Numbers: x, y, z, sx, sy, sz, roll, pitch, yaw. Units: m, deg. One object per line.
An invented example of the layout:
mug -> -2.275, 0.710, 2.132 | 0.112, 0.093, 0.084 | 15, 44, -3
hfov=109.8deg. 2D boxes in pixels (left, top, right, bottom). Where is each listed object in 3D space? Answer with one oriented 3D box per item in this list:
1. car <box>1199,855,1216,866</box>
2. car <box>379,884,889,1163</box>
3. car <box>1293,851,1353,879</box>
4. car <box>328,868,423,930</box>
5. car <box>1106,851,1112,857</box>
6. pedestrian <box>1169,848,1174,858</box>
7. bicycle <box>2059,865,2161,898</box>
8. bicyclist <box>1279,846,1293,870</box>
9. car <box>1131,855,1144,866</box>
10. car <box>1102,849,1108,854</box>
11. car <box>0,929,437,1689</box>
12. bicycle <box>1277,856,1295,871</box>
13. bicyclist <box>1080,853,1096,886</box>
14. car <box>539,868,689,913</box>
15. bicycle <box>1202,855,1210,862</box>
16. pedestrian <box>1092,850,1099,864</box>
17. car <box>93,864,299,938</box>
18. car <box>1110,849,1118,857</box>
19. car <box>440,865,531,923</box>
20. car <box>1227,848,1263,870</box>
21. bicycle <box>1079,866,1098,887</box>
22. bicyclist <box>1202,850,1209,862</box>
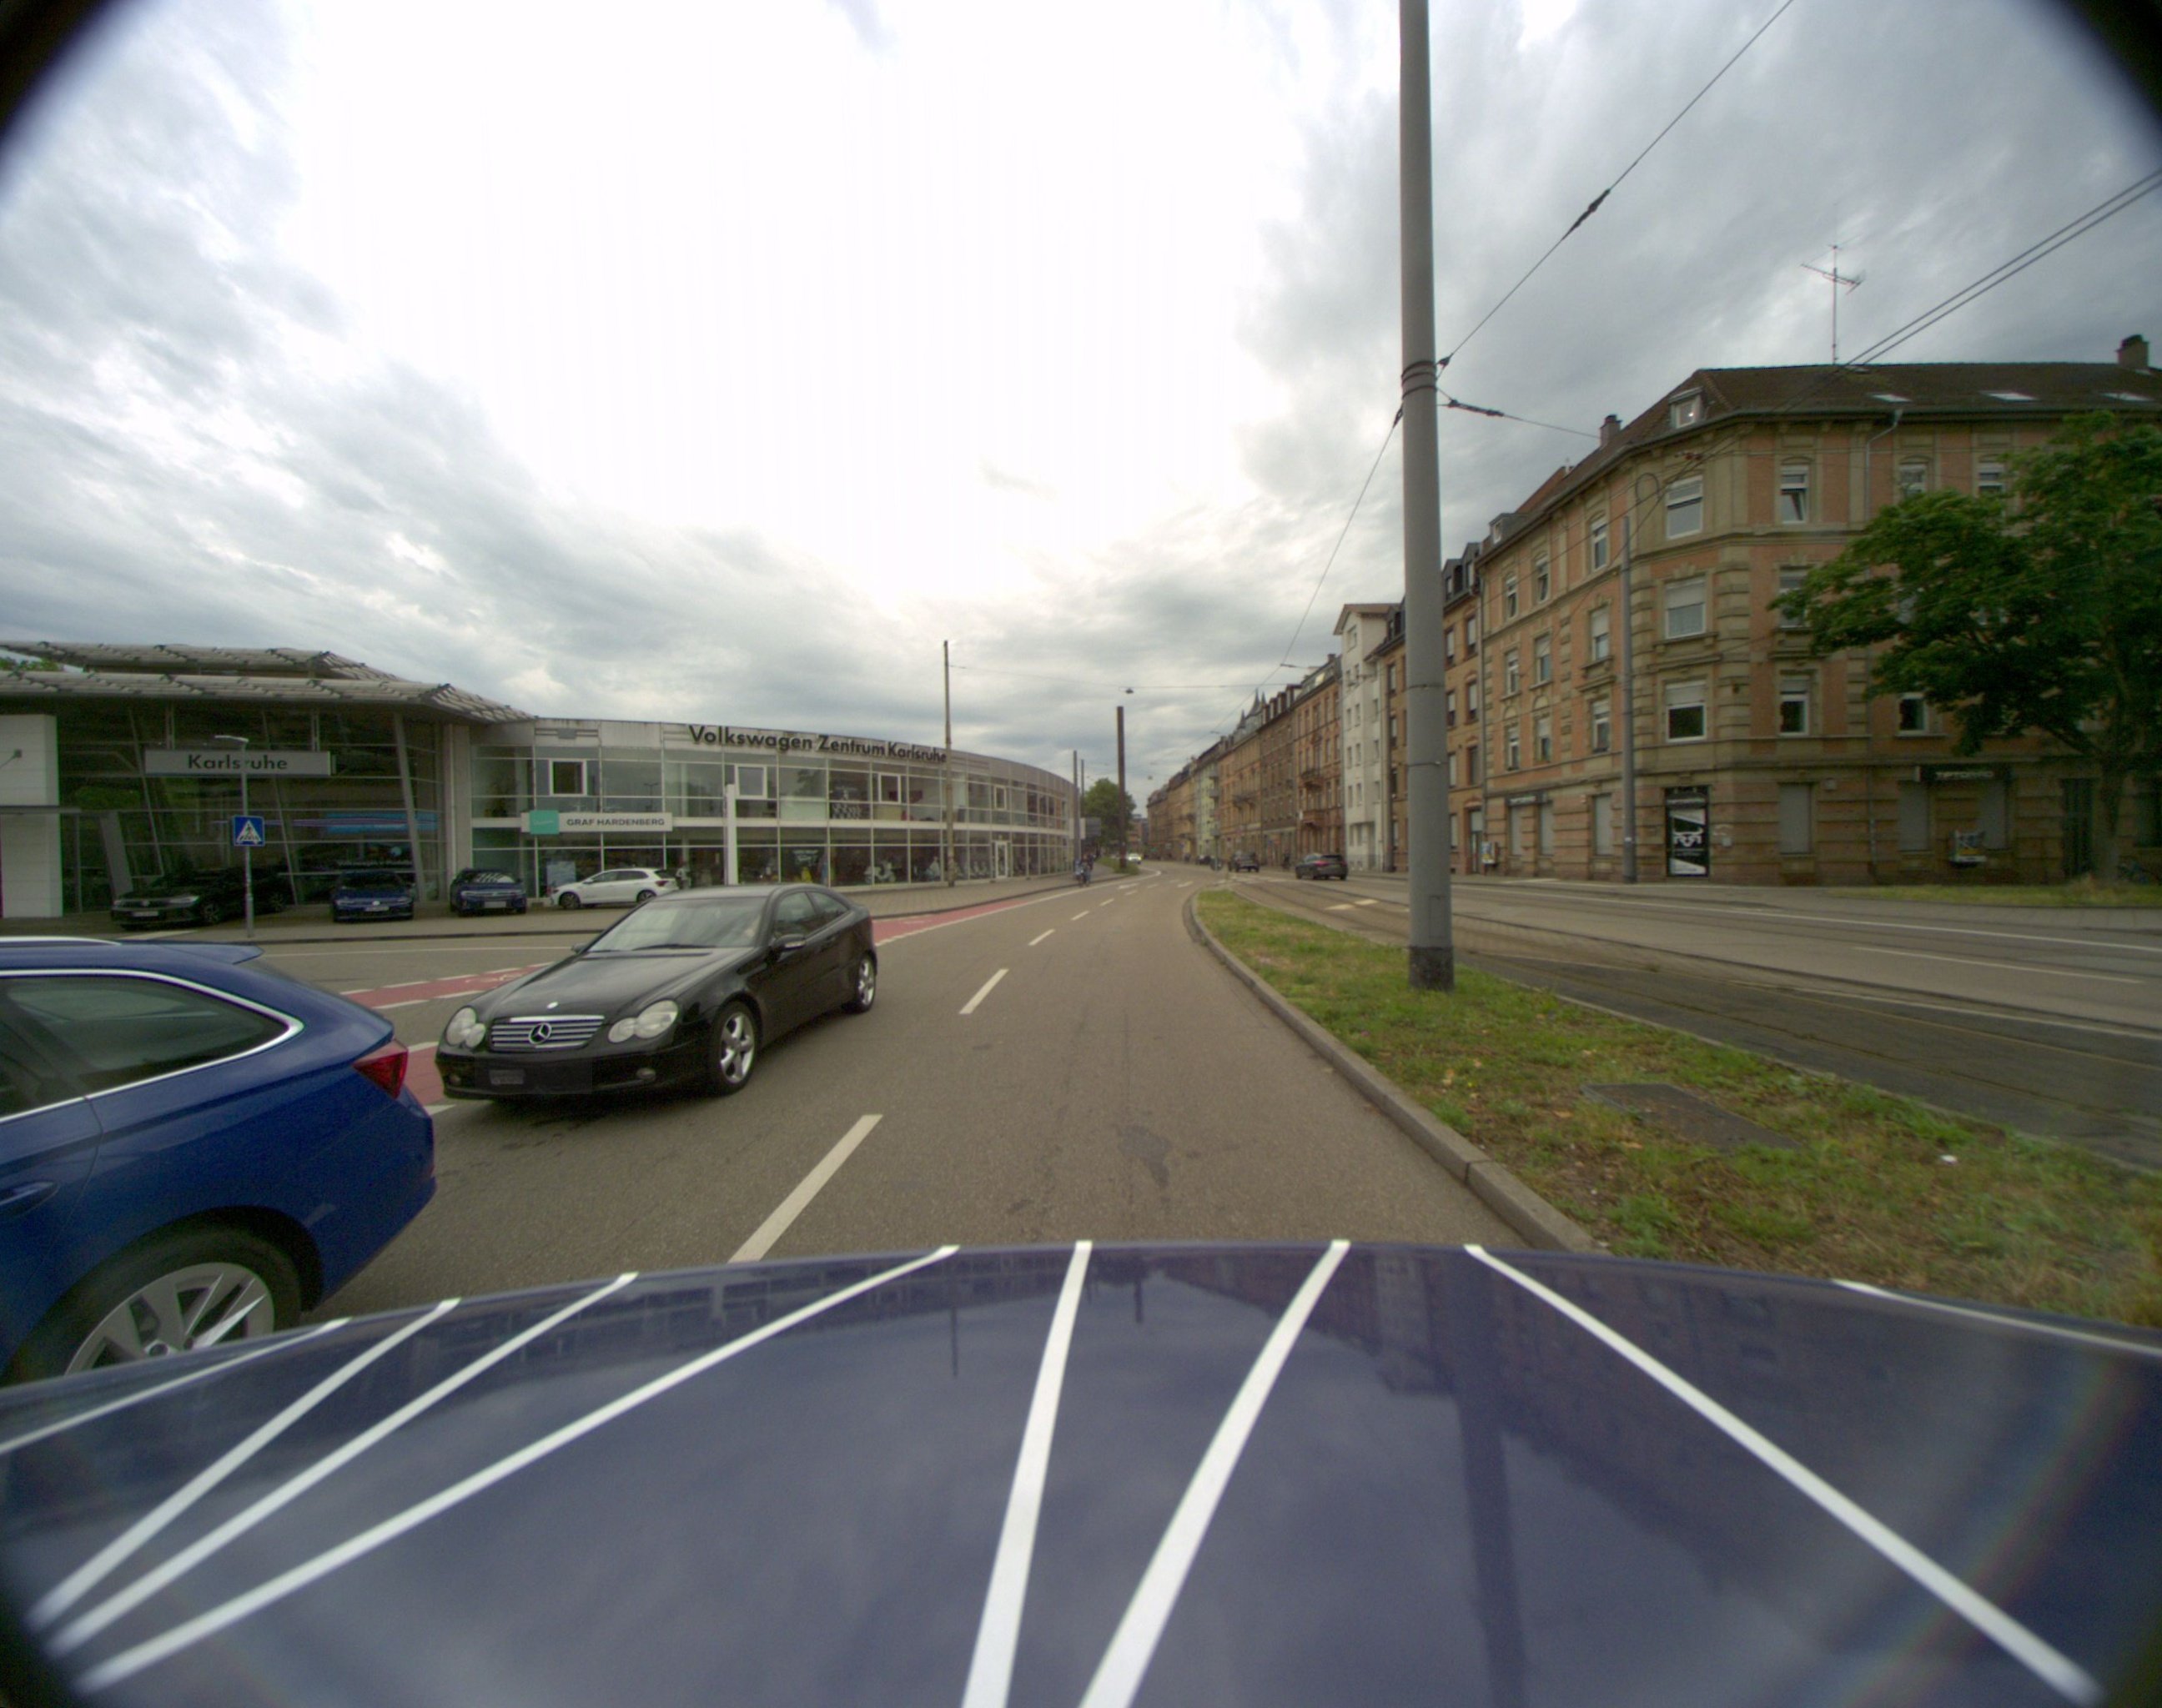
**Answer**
car -> 17.133, 0.851, 103.001 | 1.852, 1.471, 3.828 | -1, 0, 3
car -> -3.105, 1.072, 6.421 | 1.714, 1.413, 4.070 | -1, 0, 3
car -> 12.978, 0.569, 41.006 | 1.698, 1.387, 4.391 | -1, 0, -2
car -> -22.199, 1.314, 23.843 | 4.325, 1.496, 1.862 | 3, 3, 43
car -> 7.757, 0.061, 210.485 | 1.802, 1.630, 4.230 | -1, 0, 1
pedestrian -> 18.410, -0.298, 154.511 | 0.814, 2.002, 0.733 | -1, 1, 1
bicycle -> 30.325, 0.825, 22.234 | 0.662, 0.909, 1.989 | 0, -3, -10
bicyclist -> 16.257, 0.345, 60.204 | 0.831, 1.881, 1.049 | 0, 0, -1
car -> 8.719, 1.031, 117.523 | 1.802, 1.630, 4.230 | -1, 0, 1
car -> 7.528, -0.751, 242.450 | 1.802, 1.630, 4.230 | -1, 0, 1
car -> -3.186, 1.038, 0.417 | 1.784, 1.480, 4.465 | -1, 1, 1
bicycle -> 16.260, 0.734, 60.305 | 0.826, 1.201, 2.234 | 0, 0, -1
bicyclist -> 0.392, 0.811, 40.776 | 0.730, 1.747, 0.911 | -1, 1, 7
car -> -16.995, 1.287, 27.838 | 4.263, 1.444, 1.781 | -1, 0, -9
bicycle -> 15.443, 0.556, 94.051 | 0.607, 0.910, 1.719 | -1, 0, -4
pedestrian -> 1.925, 0.358, 102.801 | 0.871, 1.843, 0.706 | -1, 1, 1
car -> -26.457, 1.296, 22.993 | 1.862, 1.624, 4.500 | -3, 4, -18
car -> 7.624, -0.259, 177.326 | 1.802, 1.630, 4.230 | -1, 0, 1
car -> -20.145, 1.280, 25.636 | 1.905, 1.554, 4.207 | -2, 3, -45
car -> 12.885, 0.375, 59.853 | 1.802, 1.630, 4.229 | -1, 0, -1
bicycle -> 0.411, 1.190, 40.790 | 0.727, 1.003, 2.177 | -1, 0, 7
bicyclist -> 15.449, 0.250, 93.996 | 0.663, 1.486, 0.942 | -1, 1, -3
